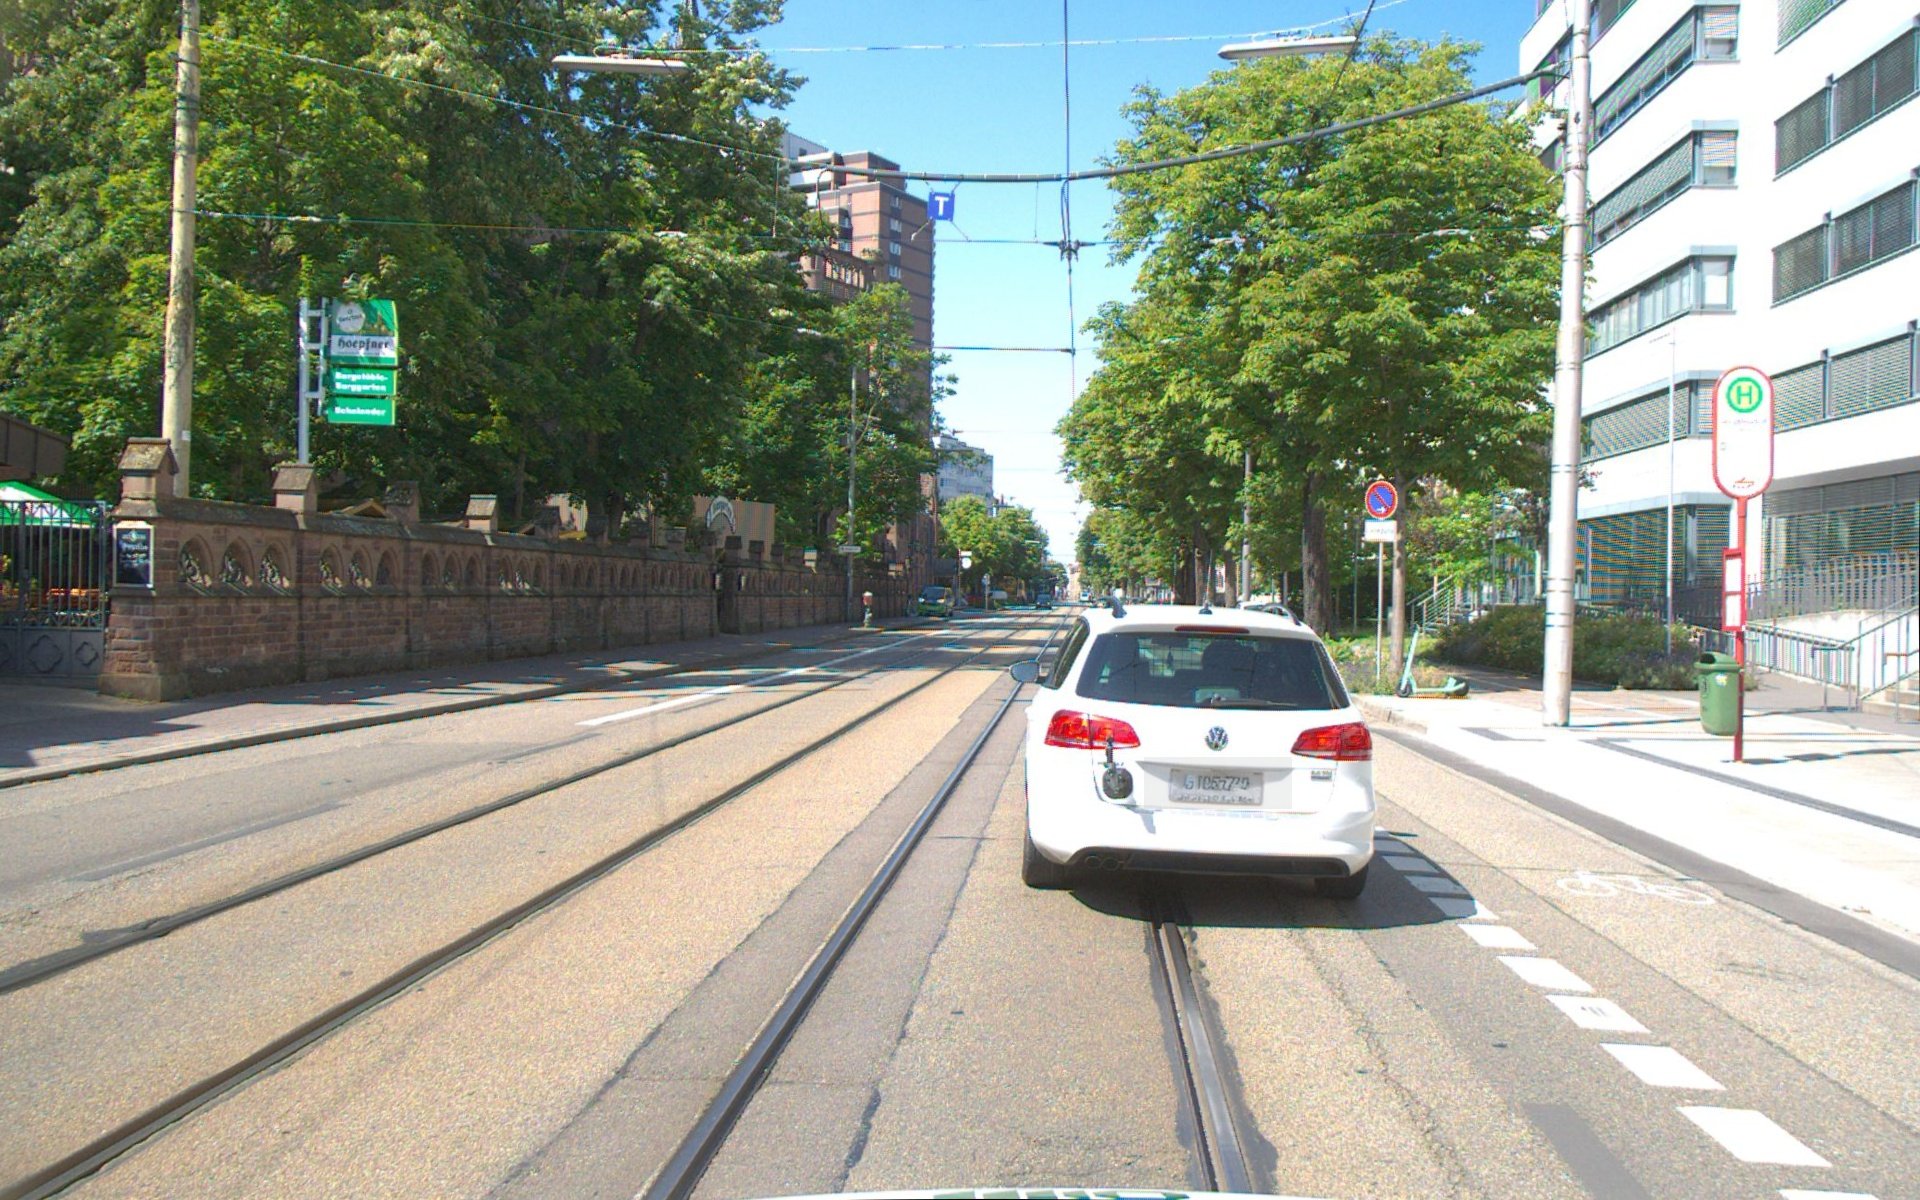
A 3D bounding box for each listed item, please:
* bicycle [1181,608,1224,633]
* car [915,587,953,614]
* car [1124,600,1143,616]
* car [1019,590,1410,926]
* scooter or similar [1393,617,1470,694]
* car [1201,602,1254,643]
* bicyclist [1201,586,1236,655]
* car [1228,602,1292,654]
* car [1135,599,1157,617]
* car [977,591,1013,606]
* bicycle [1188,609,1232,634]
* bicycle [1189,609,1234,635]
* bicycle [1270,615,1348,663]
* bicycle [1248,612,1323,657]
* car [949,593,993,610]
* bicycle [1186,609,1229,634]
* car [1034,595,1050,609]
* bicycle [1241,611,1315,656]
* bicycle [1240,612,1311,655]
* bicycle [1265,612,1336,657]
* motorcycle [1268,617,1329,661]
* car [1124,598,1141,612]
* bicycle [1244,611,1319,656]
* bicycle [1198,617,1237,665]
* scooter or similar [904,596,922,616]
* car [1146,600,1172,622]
[{"bbox_3d":[10.461,0.883,71.392,1.751,1.028,0.488,1,0,-1],"label":"bicycle"},{"bbox_3d":[-1.733,0.039,110.879,1.951,1.788,4.715,1,0,7],"label":"car"},{"bbox_3d":[15.837,0.735,150.977,1.677,1.425,3.845,1,0,4],"label":"car"},{"bbox_3d":[1.264,0.706,9.559,1.717,1.467,4.414,1,0,4],"label":"car"},{"bbox_3d":[7.541,0.879,26.467,1.118,1.174,0.493,1,0,10],"label":"scooter or similar"},{"bbox_3d":[10.003,0.816,62.129,1.629,1.469,4.636,1,0,5],"label":"car"},{"bbox_3d":[6.279,0.496,40.257,0.769,1.658,0.738,1,0,4],"label":"bicyclist"},{"bbox_3d":[9.058,0.813,50.140,1.557,1.476,3.948,1,0,5],"label":"car"},{"bbox_3d":[14.886,0.614,132.616,1.677,1.425,3.845,1,0,5],"label":"car"},{"bbox_3d":[4.308,-0.195,203.131,3.947,1.847,1.979,1,0,-32],"label":"car"},{"bbox_3d":[10.422,0.910,69.012,1.751,1.028,0.488,1,0,-1],"label":"bicycle"},{"bbox_3d":[10.404,0.916,68.435,1.751,1.028,0.488,1,0,-1],"label":"bicycle"},{"bbox_3d":[8.307,0.929,39.397,1.737,1.102,0.597,1,0,2],"label":"bicycle"},{"bbox_3d":[8.731,0.923,44.378,1.872,1.101,0.551,3,0,2],"label":"bicycle"},{"bbox_3d":[1.135,0.131,169.843,4.052,1.557,1.923,3,1,-17],"label":"car"},{"bbox_3d":[10.421,0.903,69.598,1.751,1.028,0.488,1,0,-1],"label":"bicycle"},{"bbox_3d":[8.550,0.204,172.075,1.461,1.409,3.645,1,0,5],"label":"car"},{"bbox_3d":[8.759,0.920,45.592,1.872,1.101,0.551,4,0,2],"label":"bicycle"},{"bbox_3d":[8.821,0.935,46.232,1.846,1.101,0.551,3,0,2],"label":"bicycle"},{"bbox_3d":[8.862,0.906,43.117,1.737,1.139,0.597,1,0,2],"label":"bicycle"},{"bbox_3d":[8.494,0.972,41.543,1.435,1.064,0.535,1,0,2],"label":"motorcycle"},{"bbox_3d":[18.362,0.488,175.904,1.677,1.425,3.845,1,0,5],"label":"car"},{"bbox_3d":[8.735,0.915,44.979,1.872,1.101,0.551,4,0,2],"label":"bicycle"},{"bbox_3d":[6.245,0.982,40.198,0.794,1.097,2.013,1,0,5],"label":"bicycle"},{"bbox_3d":[-2.696,0.353,94.856,0.398,1.175,1.138,0,0,38],"label":"scooter or similar"},{"bbox_3d":[13.354,0.715,111.255,1.677,1.425,3.846,1,0,6],"label":"car"}]
